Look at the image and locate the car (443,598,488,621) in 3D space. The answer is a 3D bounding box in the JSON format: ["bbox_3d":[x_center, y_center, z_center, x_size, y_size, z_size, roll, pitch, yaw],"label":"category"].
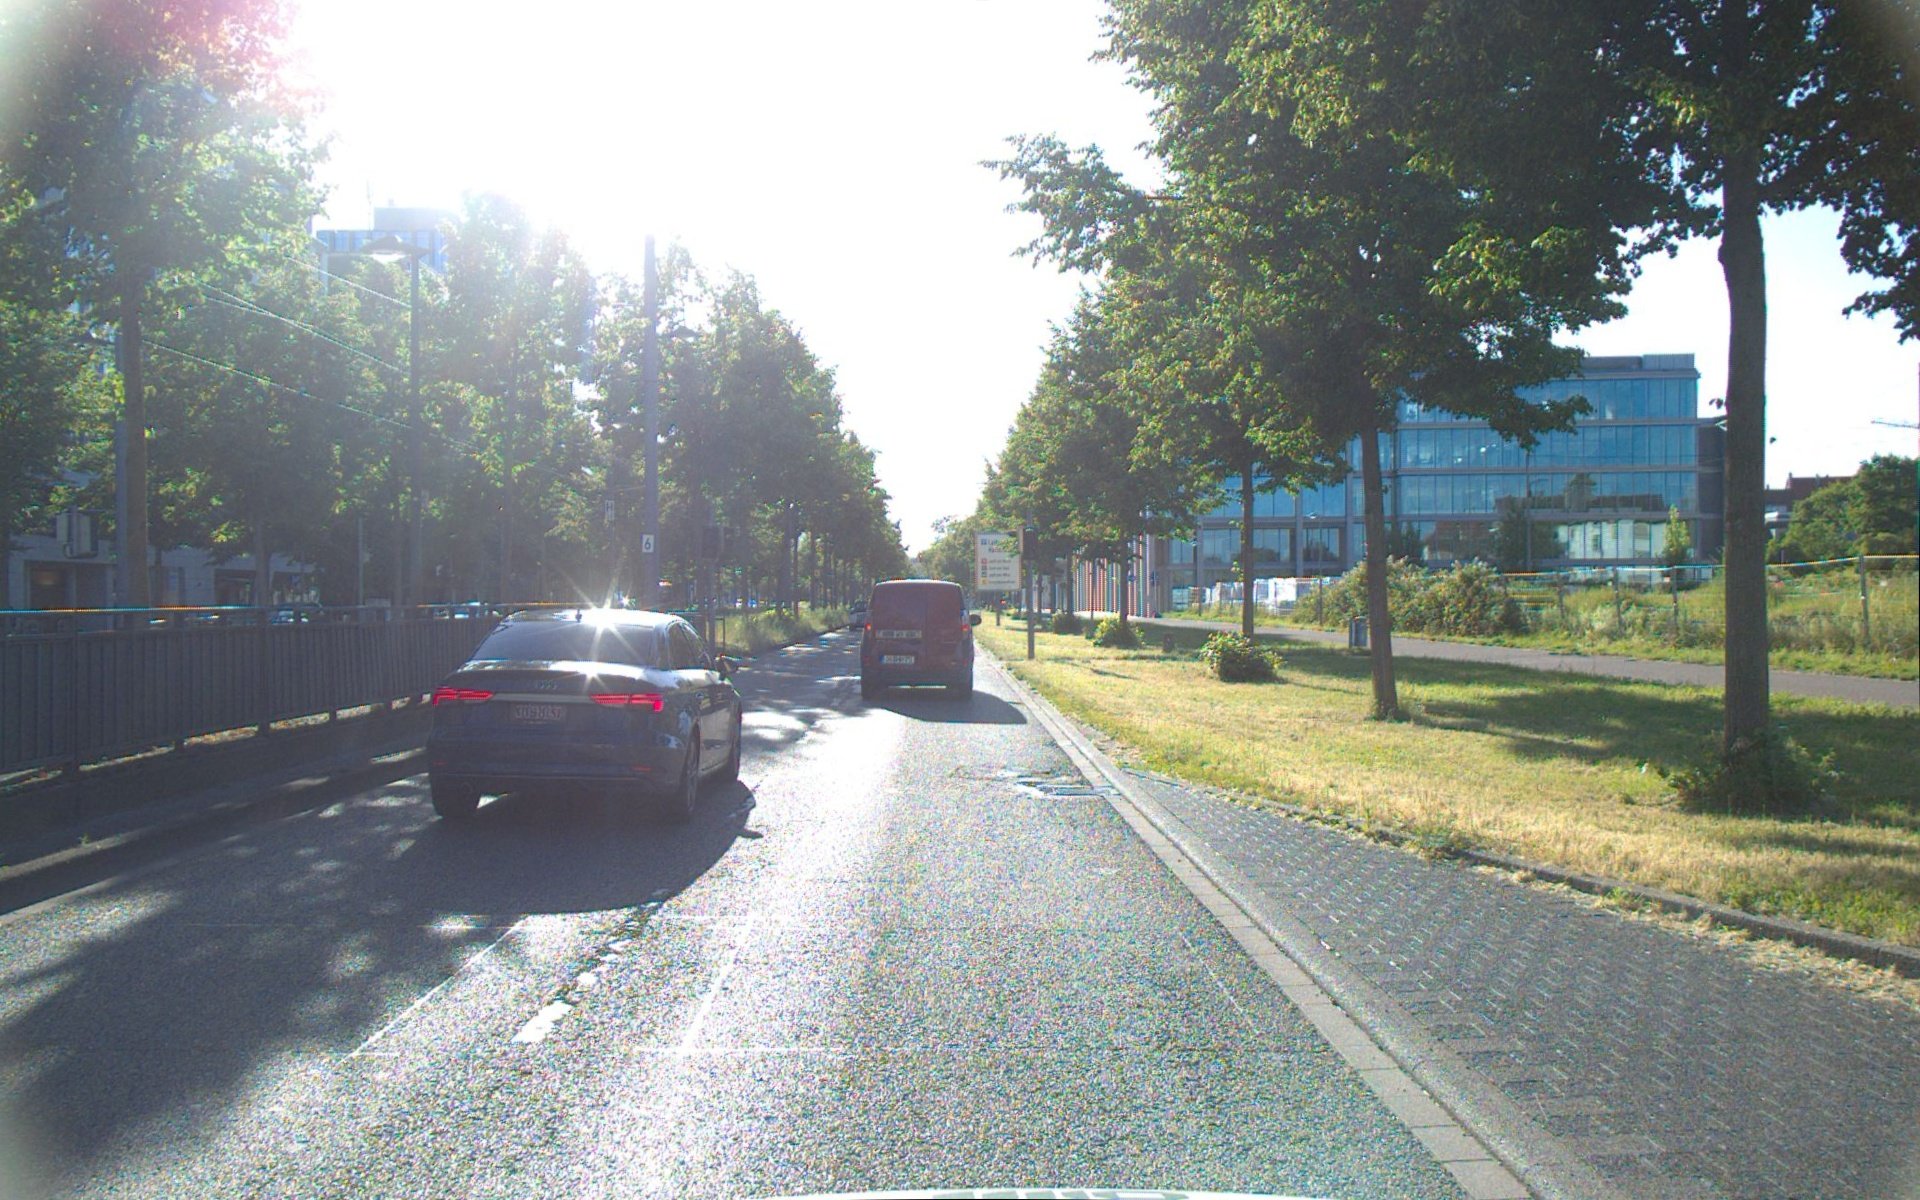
[{"bbox_3d":[-32.540,0.630,108.920,1.680,1.445,4.544,-1,0,-1],"label":"car"}]

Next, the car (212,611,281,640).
[{"bbox_3d":[-32.407,1.146,75.210,1.634,1.228,3.581,-1,0,-2],"label":"car"}]

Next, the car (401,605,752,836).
[{"bbox_3d":[-2.619,0.756,12.244,1.686,1.390,4.144,1,0,-1],"label":"car"}]

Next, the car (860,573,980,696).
[{"bbox_3d":[-0.681,0.545,26.701,1.761,1.808,3.998,1,-1,-3],"label":"car"}]

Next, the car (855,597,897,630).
[{"bbox_3d":[-3.929,0.626,77.294,1.903,1.466,3.998,-1,0,-3],"label":"car"}]

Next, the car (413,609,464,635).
[{"bbox_3d":[-32.481,1.344,103.094,1.680,1.445,4.545,-2,0,1],"label":"car"}]

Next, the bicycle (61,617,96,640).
[{"bbox_3d":[-39.029,1.255,73.259,0.530,0.989,1.982,0,-1,-1],"label":"bicycle"}]

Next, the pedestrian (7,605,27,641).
[{"bbox_3d":[-38.280,0.928,67.167,0.399,1.437,0.690,0,-2,-1],"label":"pedestrian"}]

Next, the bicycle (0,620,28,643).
[{"bbox_3d":[-38.758,1.268,67.312,0.530,0.896,2.014,0,-1,-1],"label":"bicycle"}]
